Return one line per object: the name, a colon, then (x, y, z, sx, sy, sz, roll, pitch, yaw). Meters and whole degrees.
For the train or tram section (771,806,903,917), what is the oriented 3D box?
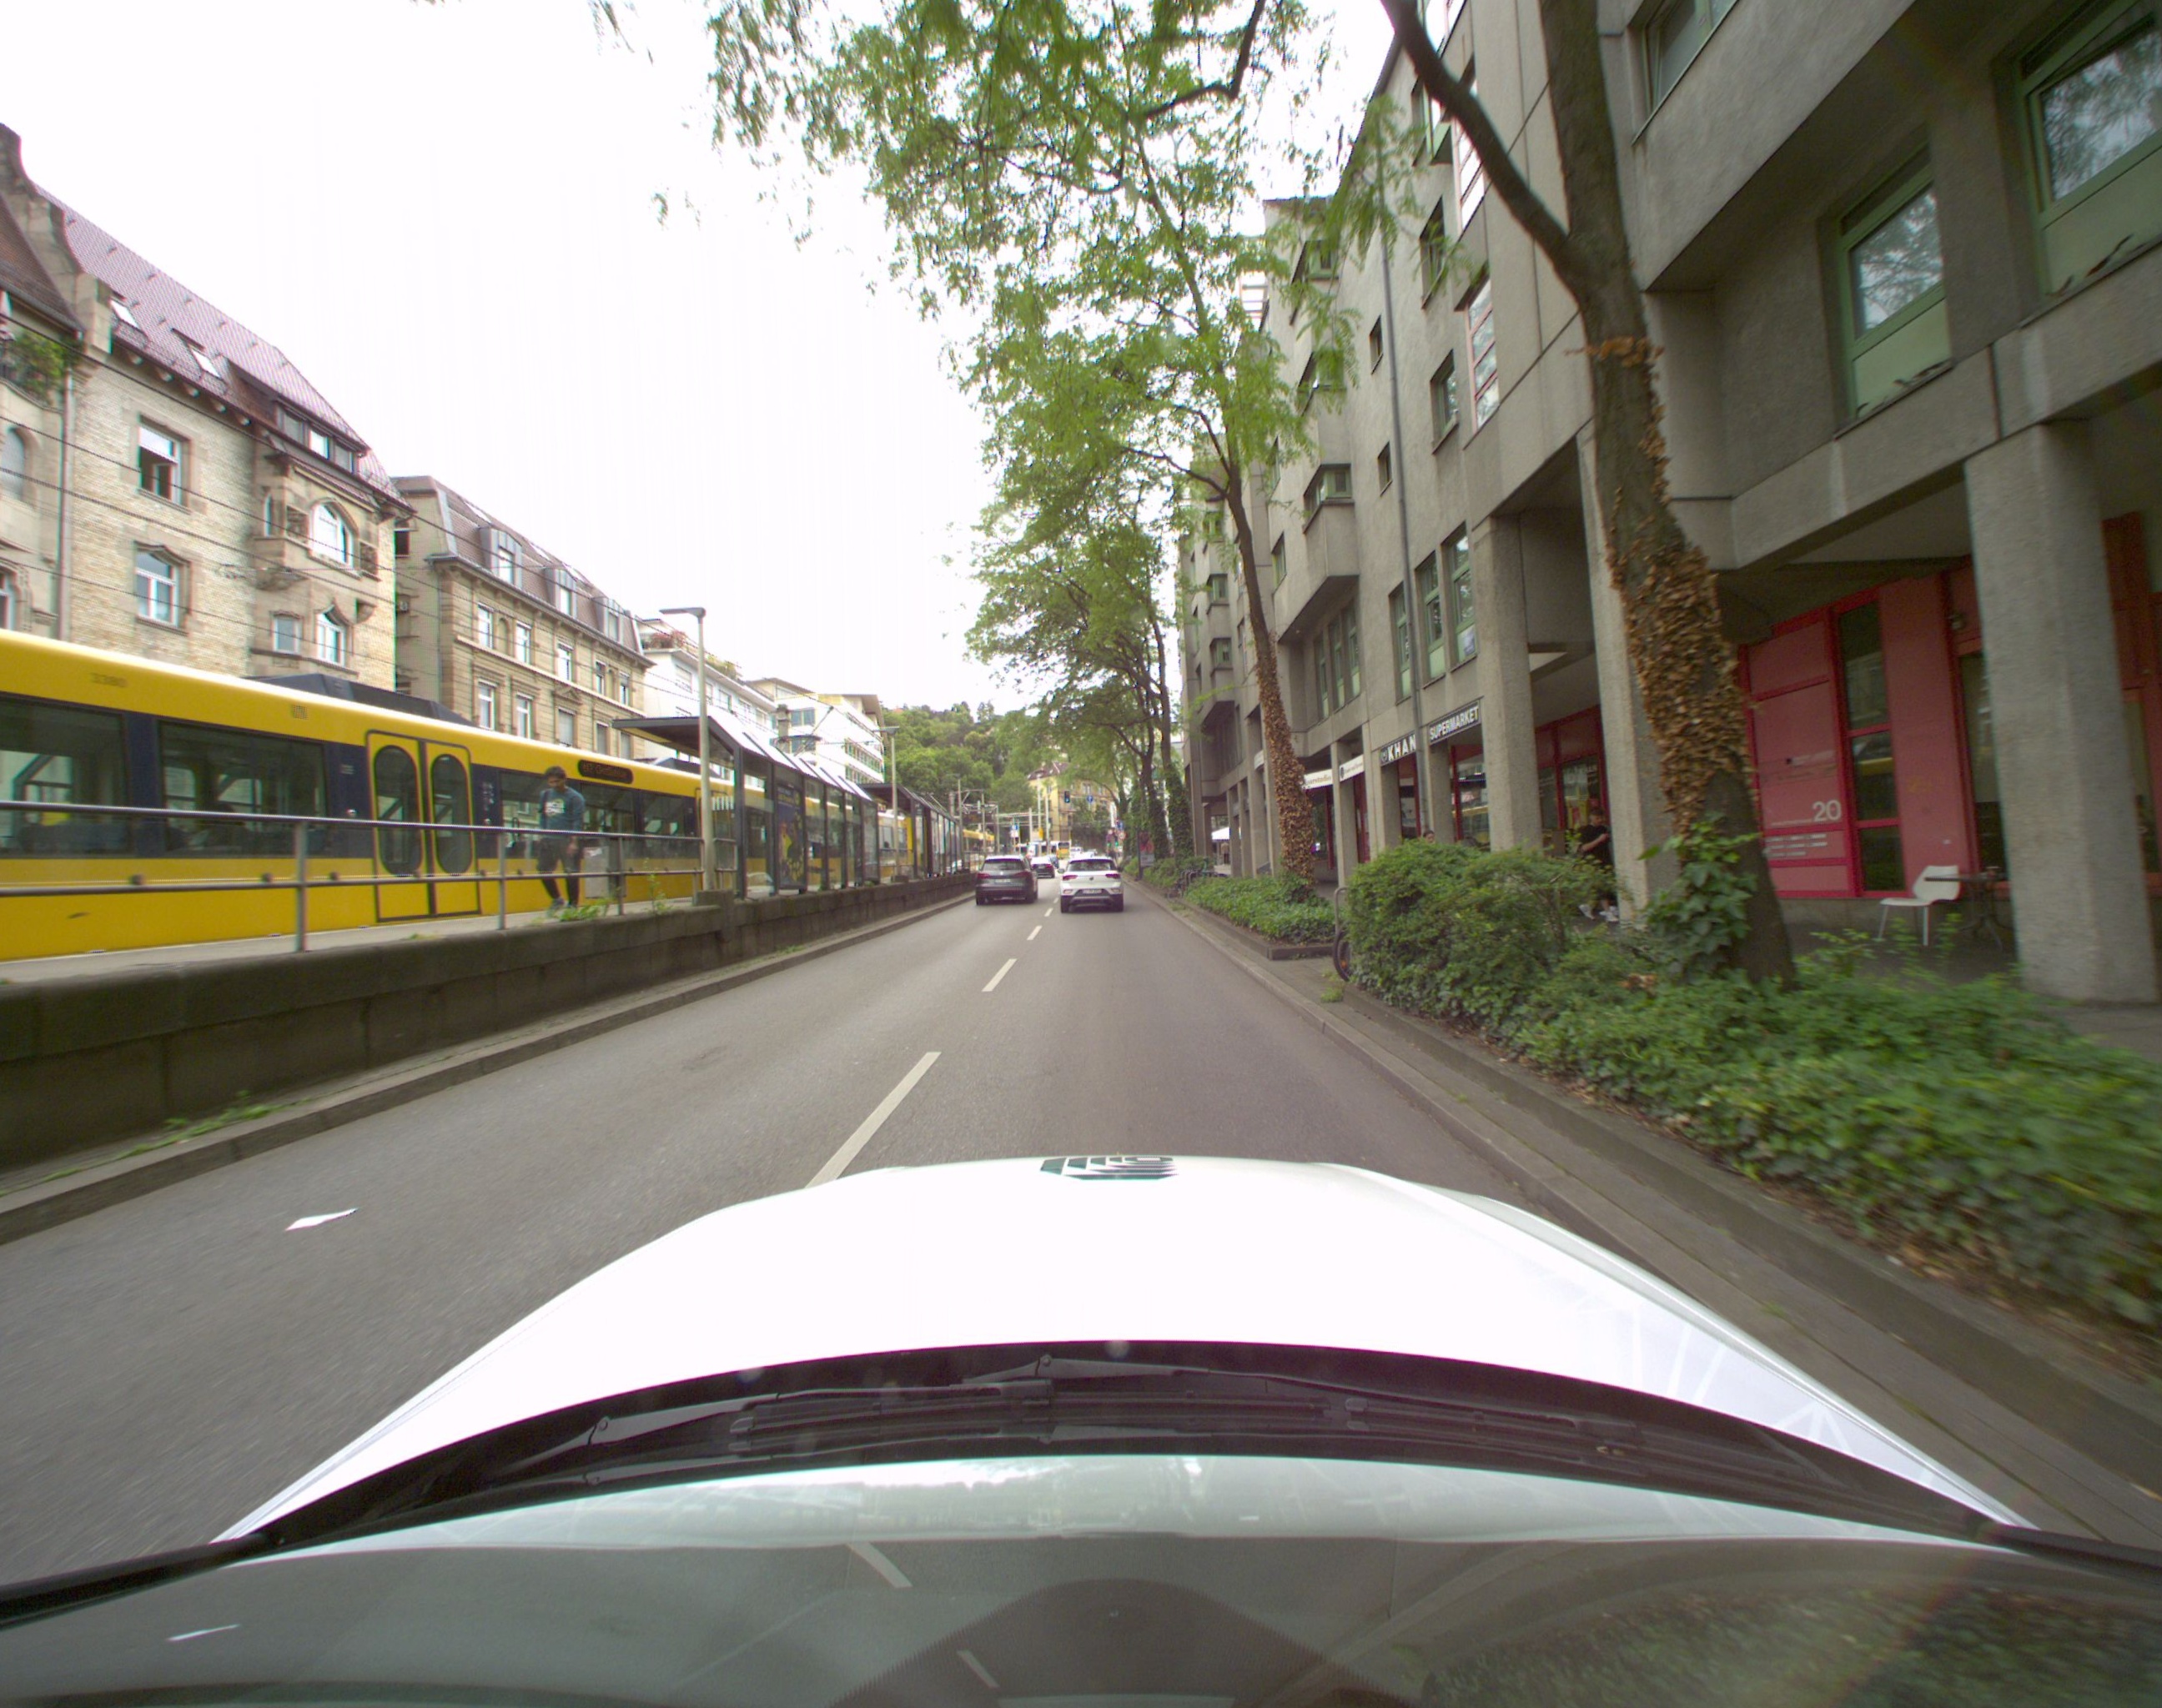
train or tram section: (-8.506, 0.286, 29.170, 2.825, 3.521, 5.752, -1, -1, 1)

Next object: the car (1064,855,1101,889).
car: (0.089, 0.988, 43.705, 1.878, 1.684, 4.160, -1, -2, 0)

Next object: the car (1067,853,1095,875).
car: (-0.050, 0.813, 65.982, 1.882, 1.684, 4.152, -1, -2, -6)

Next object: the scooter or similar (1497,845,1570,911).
scooter or similar: (8.084, 0.438, 14.552, 0.768, 1.110, 0.848, -2, -3, -39)

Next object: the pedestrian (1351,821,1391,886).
pedestrian: (8.484, -0.028, 23.846, 0.828, 1.803, 0.724, -4, 1, 3)

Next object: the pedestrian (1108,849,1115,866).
pedestrian: (3.655, 0.450, 96.416, 0.758, 2.014, 0.839, -1, -2, 6)

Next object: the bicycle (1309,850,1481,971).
bicycle: (3.479, 0.608, 9.050, 1.706, 1.184, 0.447, -4, -1, -7)

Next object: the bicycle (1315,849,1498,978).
bicycle: (3.412, 0.605, 8.568, 1.706, 1.184, 0.447, -4, -1, -7)

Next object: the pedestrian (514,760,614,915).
pedestrian: (-6.020, -0.179, 9.518, 0.715, 1.731, 0.671, -1, -2, 2)

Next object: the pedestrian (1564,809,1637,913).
pedestrian: (8.946, 0.129, 14.057, 0.758, 1.723, 0.678, -2, -3, 5)

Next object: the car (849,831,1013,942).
car: (-3.018, 0.675, 17.738, 2.355, 2.014, 5.150, -1, -2, 2)

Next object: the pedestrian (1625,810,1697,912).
pedestrian: (9.664, 0.103, 13.595, 0.613, 1.612, 0.765, -4, 1, 4)

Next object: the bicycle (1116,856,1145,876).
bicycle: (3.380, 0.830, 55.855, 1.868, 1.266, 0.767, -2, -2, 11)

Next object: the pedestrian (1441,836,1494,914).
pedestrian: (8.284, 0.442, 17.449, 0.622, 1.612, 0.770, -5, 1, -43)

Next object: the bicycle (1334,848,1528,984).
bicycle: (3.475, 0.596, 8.120, 1.706, 1.184, 0.447, -4, -1, -7)

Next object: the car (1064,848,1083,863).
car: (-1.075, 0.199, 119.094, 2.354, 2.014, 5.153, -1, -2, 4)

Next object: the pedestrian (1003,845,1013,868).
pedestrian: (-6.283, 0.216, 70.071, 0.761, 2.014, 0.836, -1, -2, -7)

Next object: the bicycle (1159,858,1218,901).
bicycle: (3.130, 0.747, 23.878, 1.613, 1.128, 0.614, -4, -1, 4)

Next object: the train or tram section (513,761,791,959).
train or tram section: (-8.797, 0.141, 17.629, 2.825, 3.521, 5.752, -1, -1, 1)

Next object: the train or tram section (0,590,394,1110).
train or tram section: (-9.056, -0.002, 6.108, 2.825, 3.679, 5.752, -1, -1, 1)

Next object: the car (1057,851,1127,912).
car: (0.286, 0.788, 24.034, 1.832, 1.584, 4.155, -2, -1, -1)

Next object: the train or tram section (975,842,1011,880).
train or tram section: (-8.852, 0.697, 82.532, 2.804, 3.666, 6.749, -1, -1, 0)

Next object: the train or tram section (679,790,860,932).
train or tram section: (-8.641, 0.208, 23.411, 2.825, 3.521, 5.752, -1, -1, 1)

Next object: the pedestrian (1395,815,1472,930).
pedestrian: (5.785, 0.291, 13.409, 0.761, 1.782, 0.847, -4, 1, -5)

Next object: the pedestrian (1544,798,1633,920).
pedestrian: (7.931, 0.076, 12.746, 0.829, 1.803, 0.723, -4, 0, 0)

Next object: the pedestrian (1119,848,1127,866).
pedestrian: (4.758, 0.324, 92.325, 0.758, 2.014, 0.839, -1, -2, 6)

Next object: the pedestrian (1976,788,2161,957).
pedestrian: (8.938, 0.149, 7.262, 1.054, 1.363, 0.755, -4, -1, -6)

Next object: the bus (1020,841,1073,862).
bus: (-6.123, -0.322, 140.928, 3.394, 3.065, 13.191, 0, -2, -31)

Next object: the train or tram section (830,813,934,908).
train or tram section: (-8.372, 0.288, 35.010, 2.803, 3.666, 5.903, -1, -1, 1)

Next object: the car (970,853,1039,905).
car: (-2.589, 0.834, 28.548, 1.987, 1.636, 3.999, -2, 0, 0)

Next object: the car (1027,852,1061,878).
car: (-2.482, 0.731, 55.547, 1.904, 1.689, 4.003, -1, 0, 3)

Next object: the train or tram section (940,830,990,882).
train or tram section: (-8.760, 0.185, 62.236, 2.804, 3.666, 6.749, -1, -1, 0)

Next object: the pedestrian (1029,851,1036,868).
pedestrian: (-5.816, 0.711, 97.289, 0.759, 2.014, 0.838, -1, -2, 1)

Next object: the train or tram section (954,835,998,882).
train or tram section: (-8.796, 0.404, 68.991, 2.804, 3.666, 6.749, -1, -1, 0)

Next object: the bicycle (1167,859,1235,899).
bicycle: (3.691, 0.761, 25.096, 1.911, 1.076, 0.613, -4, -1, -3)

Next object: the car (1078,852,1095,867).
car: (0.727, 0.734, 101.503, 1.877, 1.684, 4.164, -1, -2, 3)

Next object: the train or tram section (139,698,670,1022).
train or tram section: (-8.928, 0.102, 11.874, 2.825, 3.521, 5.752, -1, -1, 1)

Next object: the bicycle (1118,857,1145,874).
bicycle: (3.571, 0.814, 57.347, 1.871, 1.137, 0.809, -1, -2, 6)

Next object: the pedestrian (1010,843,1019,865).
pedestrian: (-6.100, 0.001, 74.438, 0.761, 2.014, 0.836, -1, -2, -7)
